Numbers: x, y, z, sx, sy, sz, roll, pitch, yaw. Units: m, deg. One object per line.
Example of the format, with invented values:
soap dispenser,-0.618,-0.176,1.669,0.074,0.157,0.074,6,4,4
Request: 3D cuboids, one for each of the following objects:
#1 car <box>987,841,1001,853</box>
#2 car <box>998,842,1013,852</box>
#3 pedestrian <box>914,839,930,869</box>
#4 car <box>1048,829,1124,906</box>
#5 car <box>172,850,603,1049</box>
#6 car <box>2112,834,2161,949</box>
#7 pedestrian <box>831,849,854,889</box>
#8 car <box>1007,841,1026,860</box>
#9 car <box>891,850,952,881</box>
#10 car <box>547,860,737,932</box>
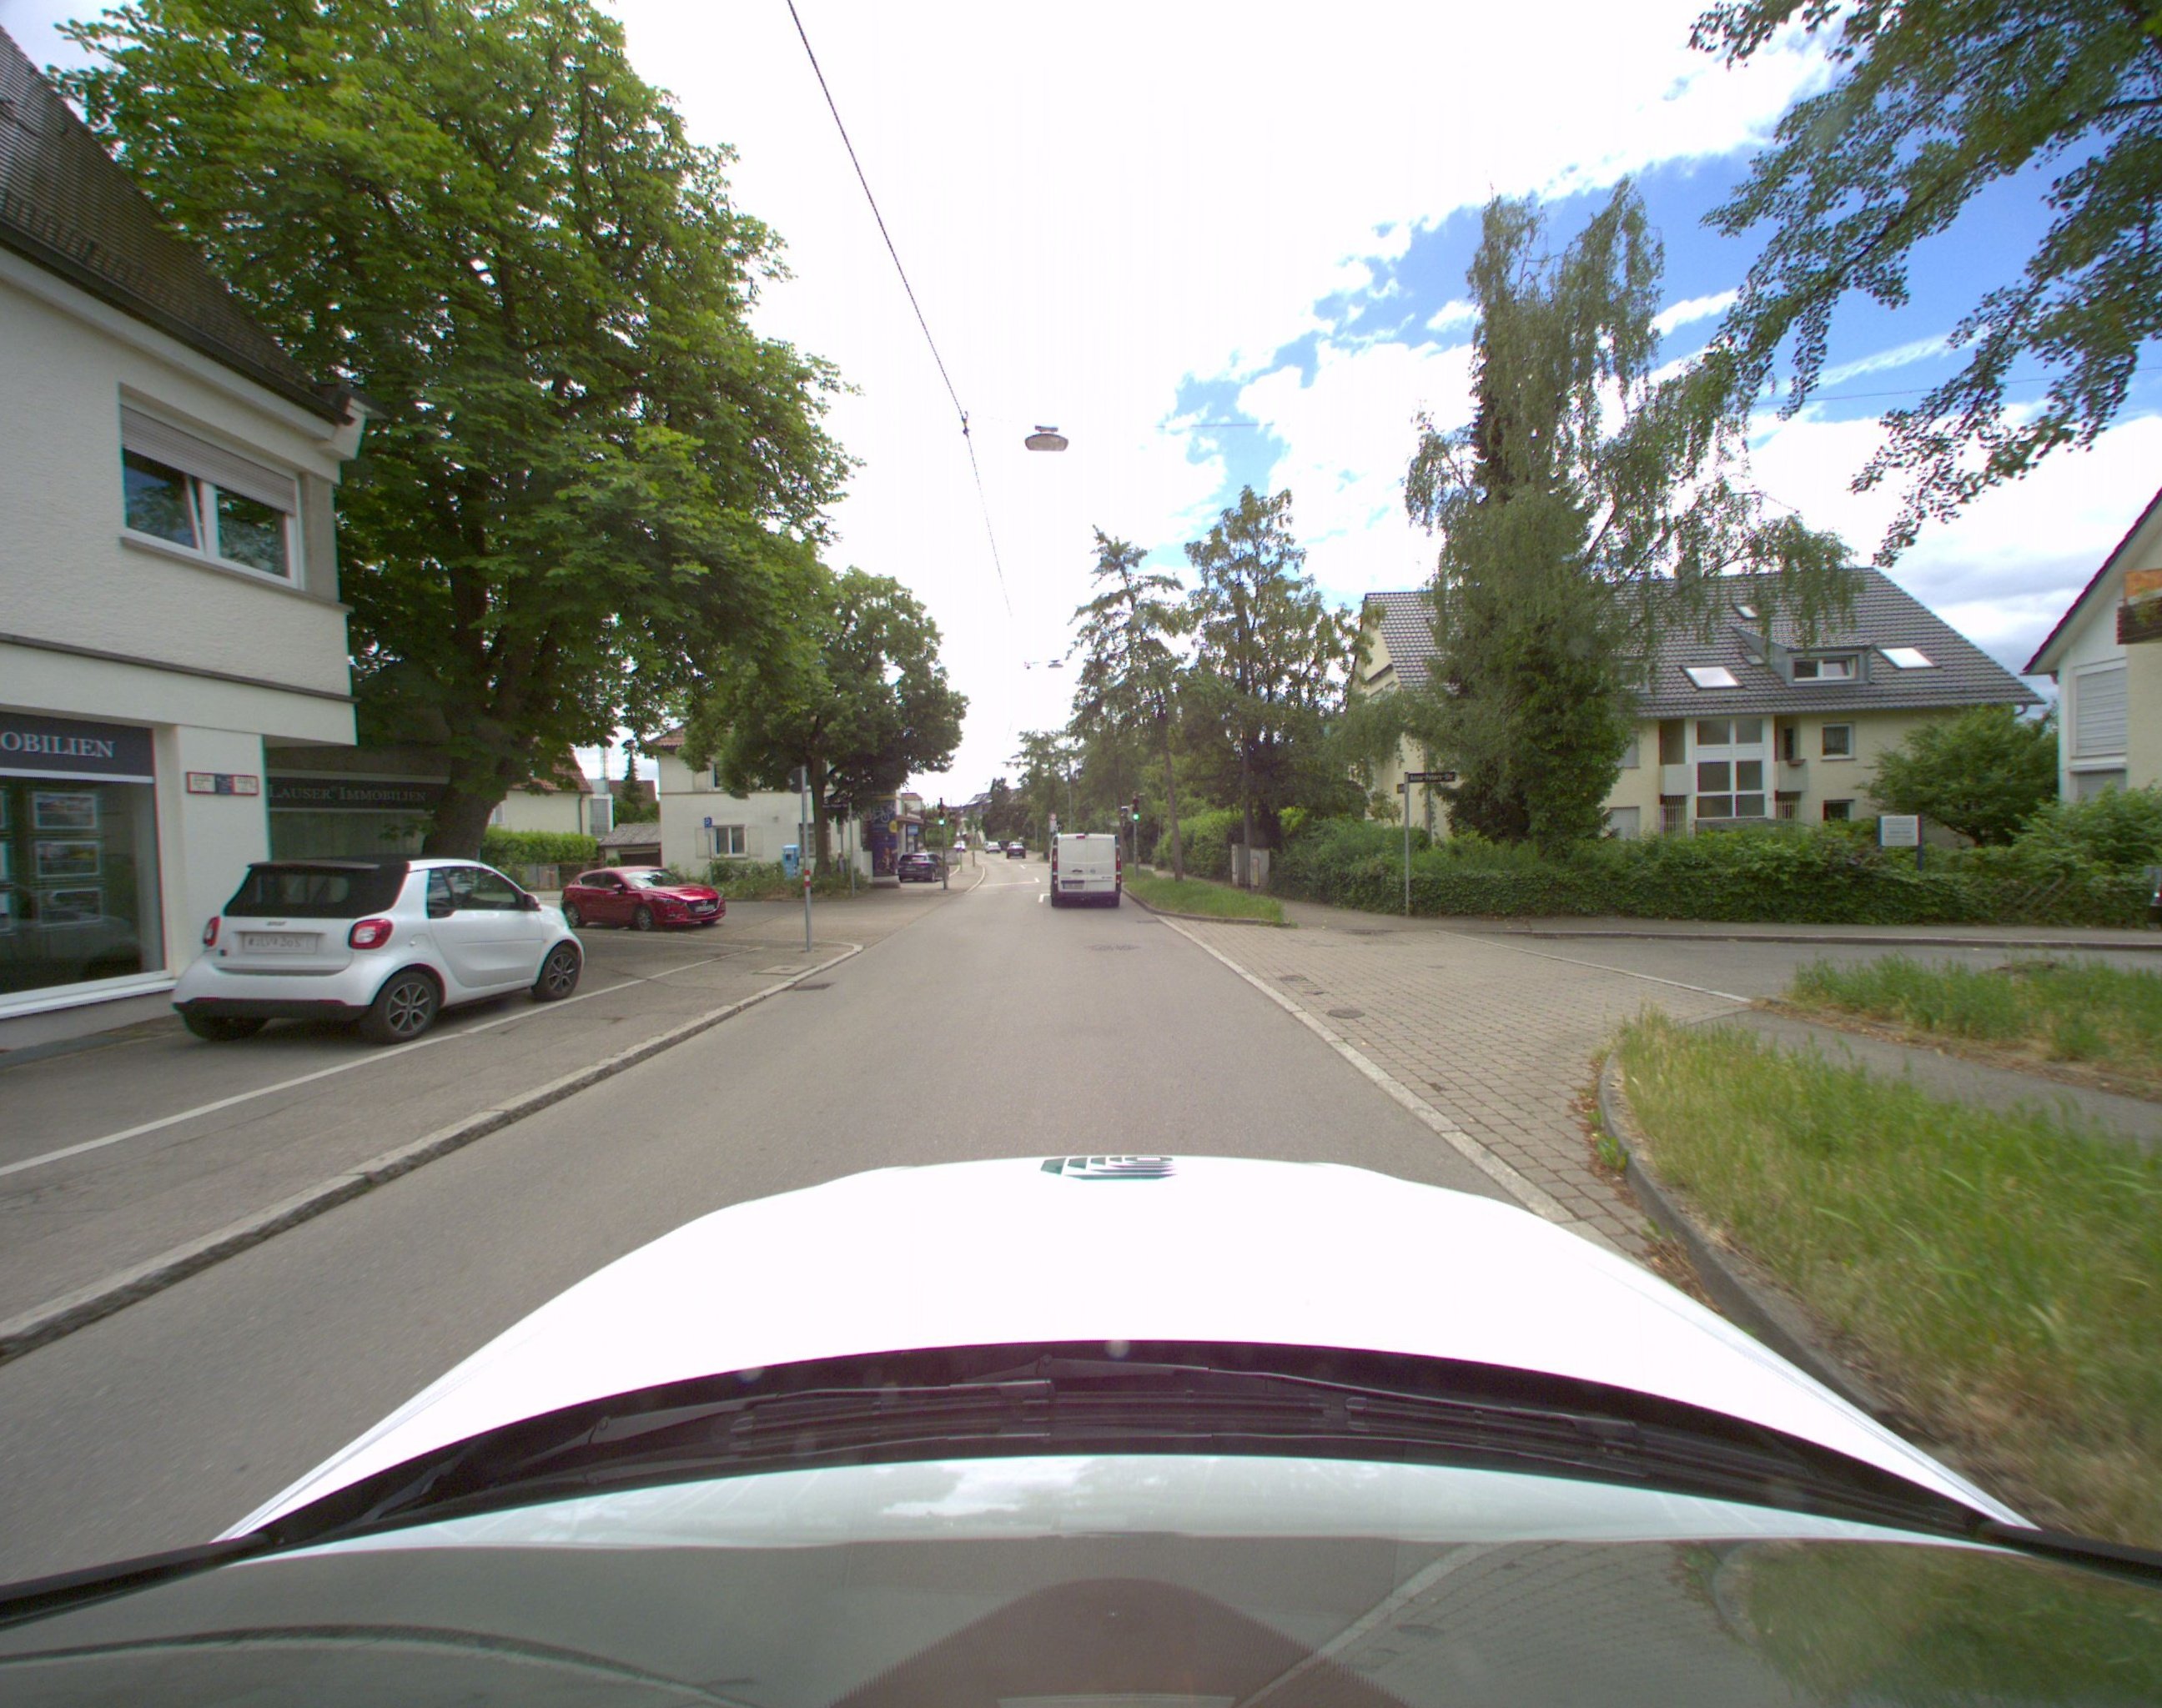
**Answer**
car,-12.601,-1.002,117.531,1.825,1.728,3.988,-1,0,-9
car,-11.864,-1.088,128.374,1.895,1.611,4.483,-1,0,-11
pedestrian,-9.338,-0.015,47.916,0.882,1.750,0.960,1,0,-10
car,0.050,0.329,23.259,1.925,1.964,4.397,-1,0,-3
car,-6.338,0.745,7.892,1.582,1.538,2.925,1,0,2
car,15.793,0.458,9.411,4.405,1.464,1.880,-1,-2,26
pedestrian,-9.876,0.621,33.711,0.695,1.616,0.715,-1,1,1
car,-6.631,-0.332,83.499,1.894,1.859,4.397,-1,0,-5
car,-7.833,0.543,40.478,1.771,1.441,4.531,0,0,5
car,-10.475,0.961,19.414,4.180,1.432,1.828,-1,3,27
